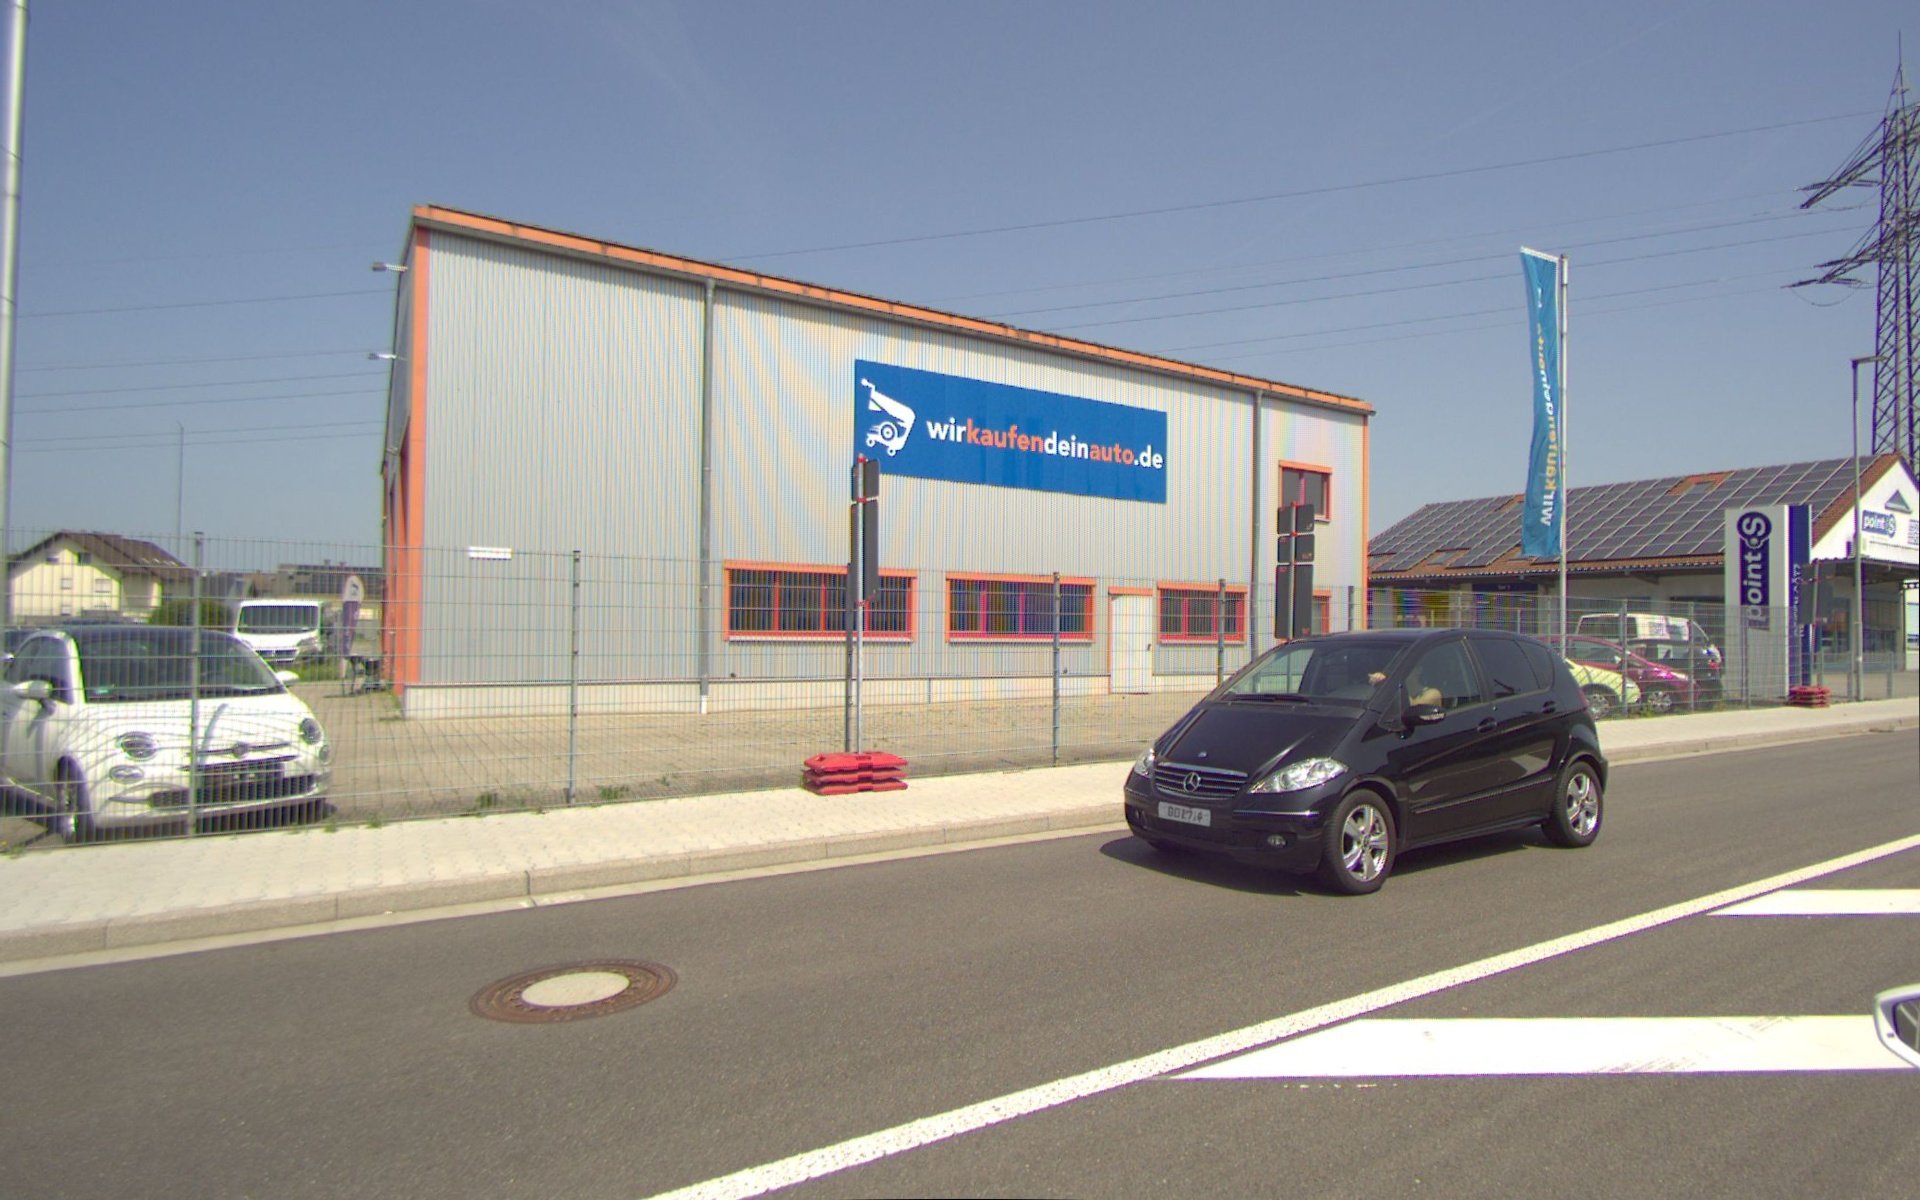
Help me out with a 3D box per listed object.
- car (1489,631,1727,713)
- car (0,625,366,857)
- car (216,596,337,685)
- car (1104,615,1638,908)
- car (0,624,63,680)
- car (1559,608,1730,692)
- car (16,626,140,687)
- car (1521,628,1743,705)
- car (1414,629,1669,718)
[{"bbox_3d":[13.118,1.409,20.639,3.925,1.513,1.742,0,-1,26],"label":"car"},{"bbox_3d":[-6.519,0.961,8.147,3.428,1.484,1.586,-1,-2,34],"label":"car"},{"bbox_3d":[-18.587,1.099,27.518,1.973,2.224,4.297,1,-2,-24],"label":"car"},{"bbox_3d":[3.054,0.972,7.316,3.754,1.614,1.733,1,-3,-32],"label":"car"},{"bbox_3d":[-27.396,1.478,29.066,1.758,1.522,3.959,1,-2,-36],"label":"car"},{"bbox_3d":[18.144,1.341,26.595,4.627,2.040,1.984,2,-3,-31],"label":"car"},{"bbox_3d":[-22.572,1.416,25.861,1.854,1.439,4.039,1,-2,-34],"label":"car"},{"bbox_3d":[14.721,1.401,22.207,3.932,1.513,1.739,0,-2,33],"label":"car"},{"bbox_3d":[10.858,1.320,19.117,4.015,1.513,1.743,0,-1,24],"label":"car"}]
